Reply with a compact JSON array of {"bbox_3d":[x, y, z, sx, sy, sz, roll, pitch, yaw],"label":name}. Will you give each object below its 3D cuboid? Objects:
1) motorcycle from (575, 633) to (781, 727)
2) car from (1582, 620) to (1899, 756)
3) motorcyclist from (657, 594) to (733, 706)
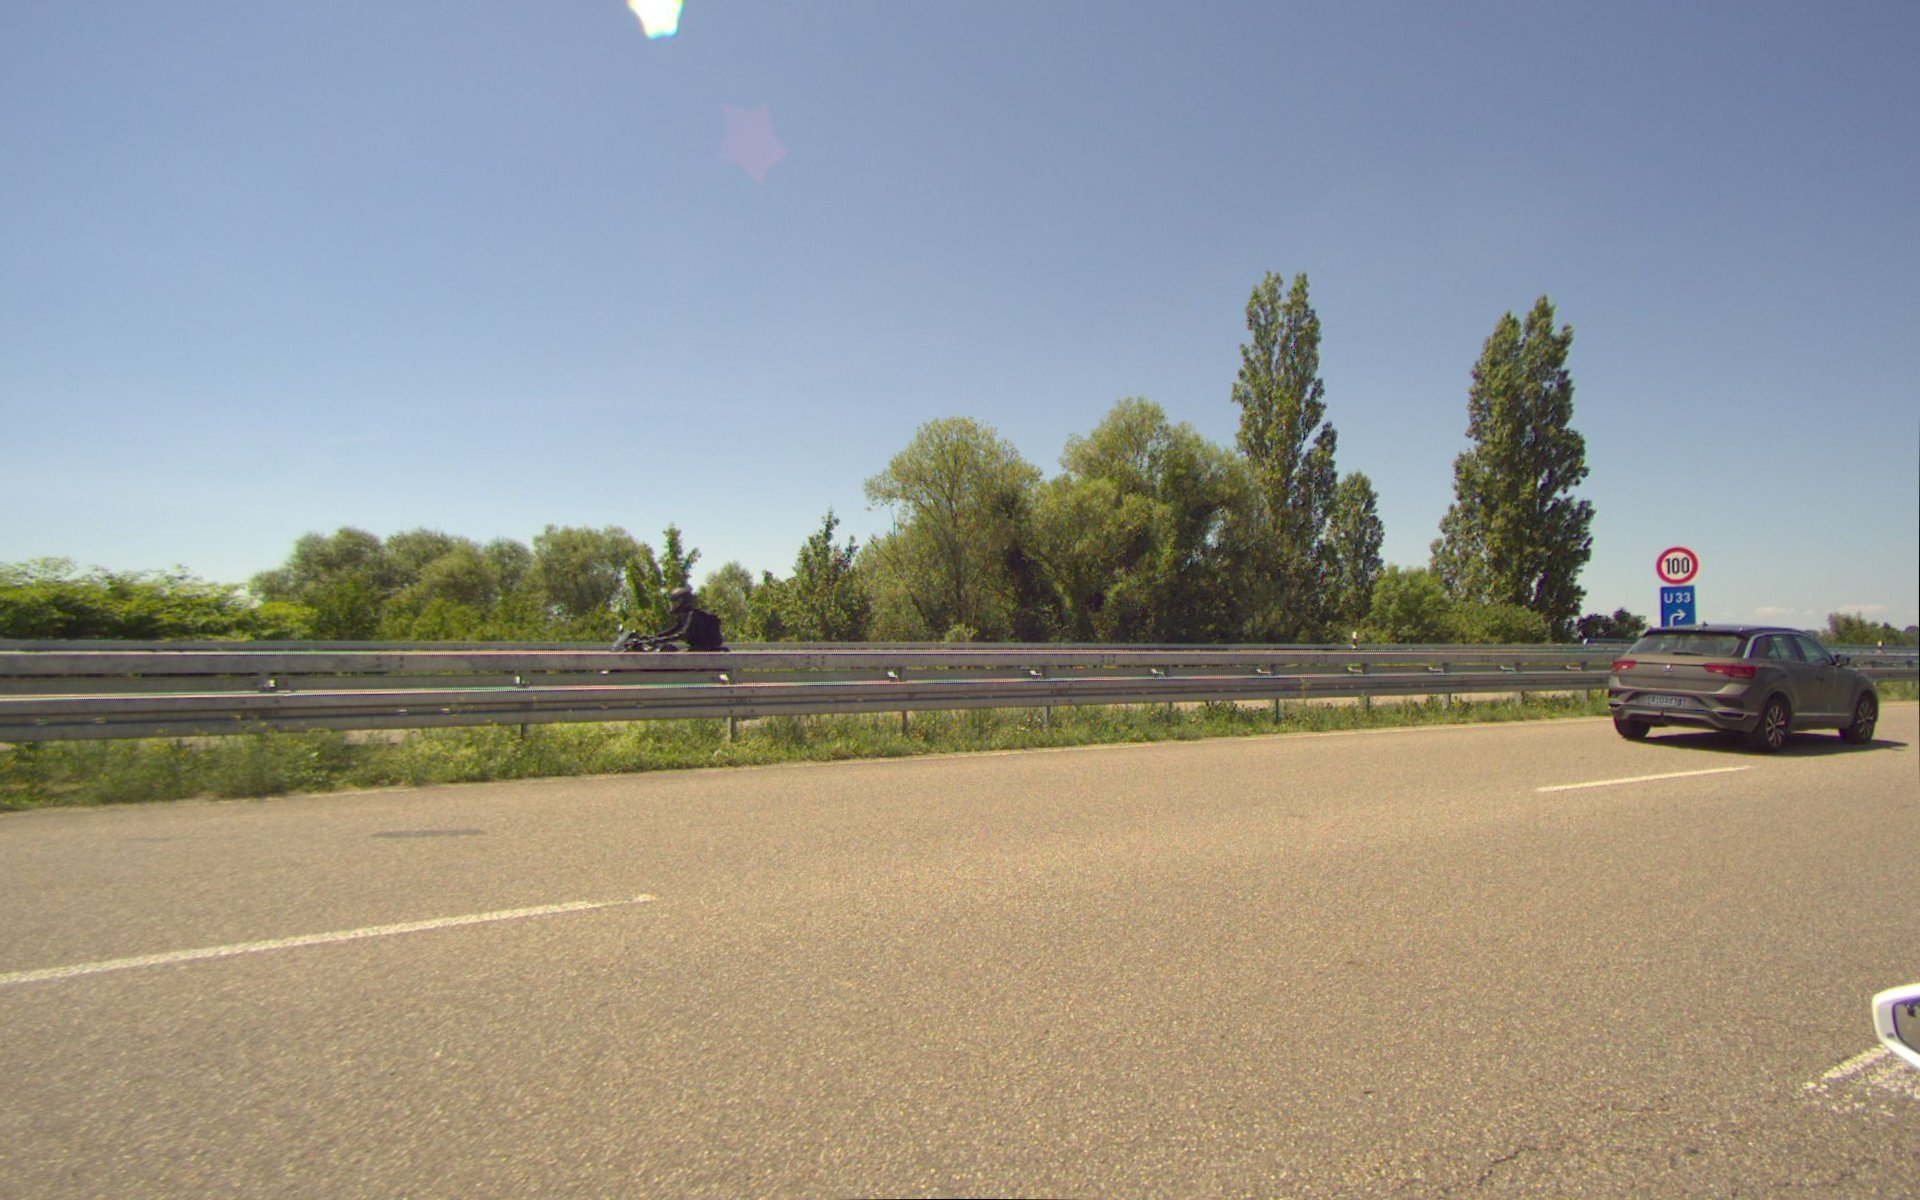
[{"bbox_3d":[-3.730,1.060,13.384,2.500,1.158,0.787,3,-3,-31],"label":"motorcycle"},{"bbox_3d":[10.617,1.095,13.608,4.416,1.550,1.833,2,-1,-29],"label":"car"},{"bbox_3d":[-3.563,0.669,13.492,0.759,1.452,0.787,3,-2,-30],"label":"motorcyclist"}]
